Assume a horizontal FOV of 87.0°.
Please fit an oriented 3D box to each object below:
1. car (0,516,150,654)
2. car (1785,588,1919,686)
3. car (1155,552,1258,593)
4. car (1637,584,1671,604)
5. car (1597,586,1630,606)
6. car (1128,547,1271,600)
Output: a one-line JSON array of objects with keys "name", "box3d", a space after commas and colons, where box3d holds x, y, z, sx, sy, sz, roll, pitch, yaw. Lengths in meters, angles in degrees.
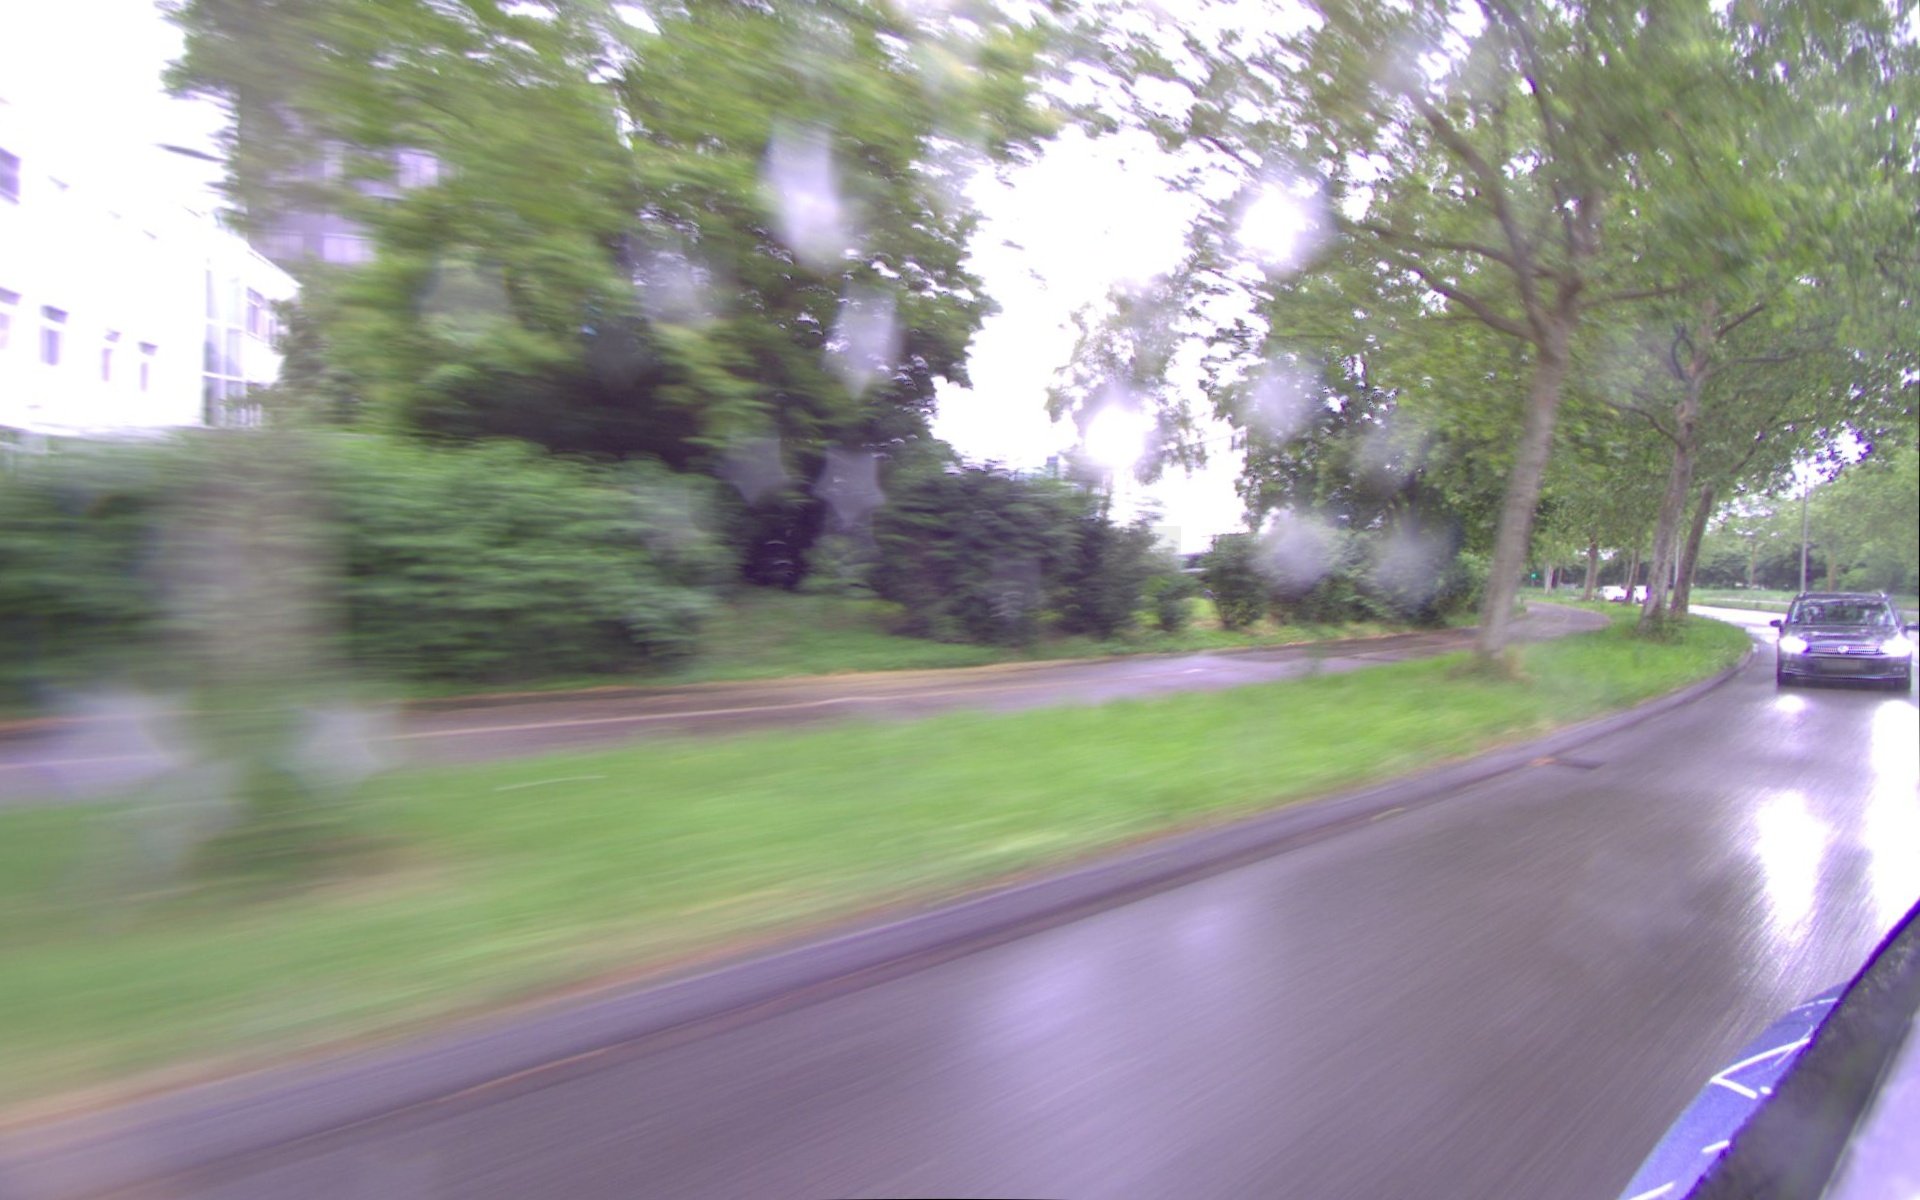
[{"name": "car", "box3d": [-10.913, -0.170, 10.470, 3.629, 1.375, 1.601, 0, 0, -21]}, {"name": "car", "box3d": [16.260, 0.599, 18.385, 1.778, 1.575, 3.940, -1, -1, 42]}, {"name": "car", "box3d": [11.319, -1.259, 46.642, 4.531, 1.853, 1.761, 1, 0, 14]}, {"name": "car", "box3d": [58.583, -0.523, 85.469, 1.767, 1.575, 3.965, 1, 1, 26]}, {"name": "car", "box3d": [54.132, -0.374, 83.885, 1.768, 1.575, 3.963, 1, 1, 27]}, {"name": "car", "box3d": [7.485, -0.792, 31.969, 1.738, 1.501, 4.149, 2, -1, -42]}]
